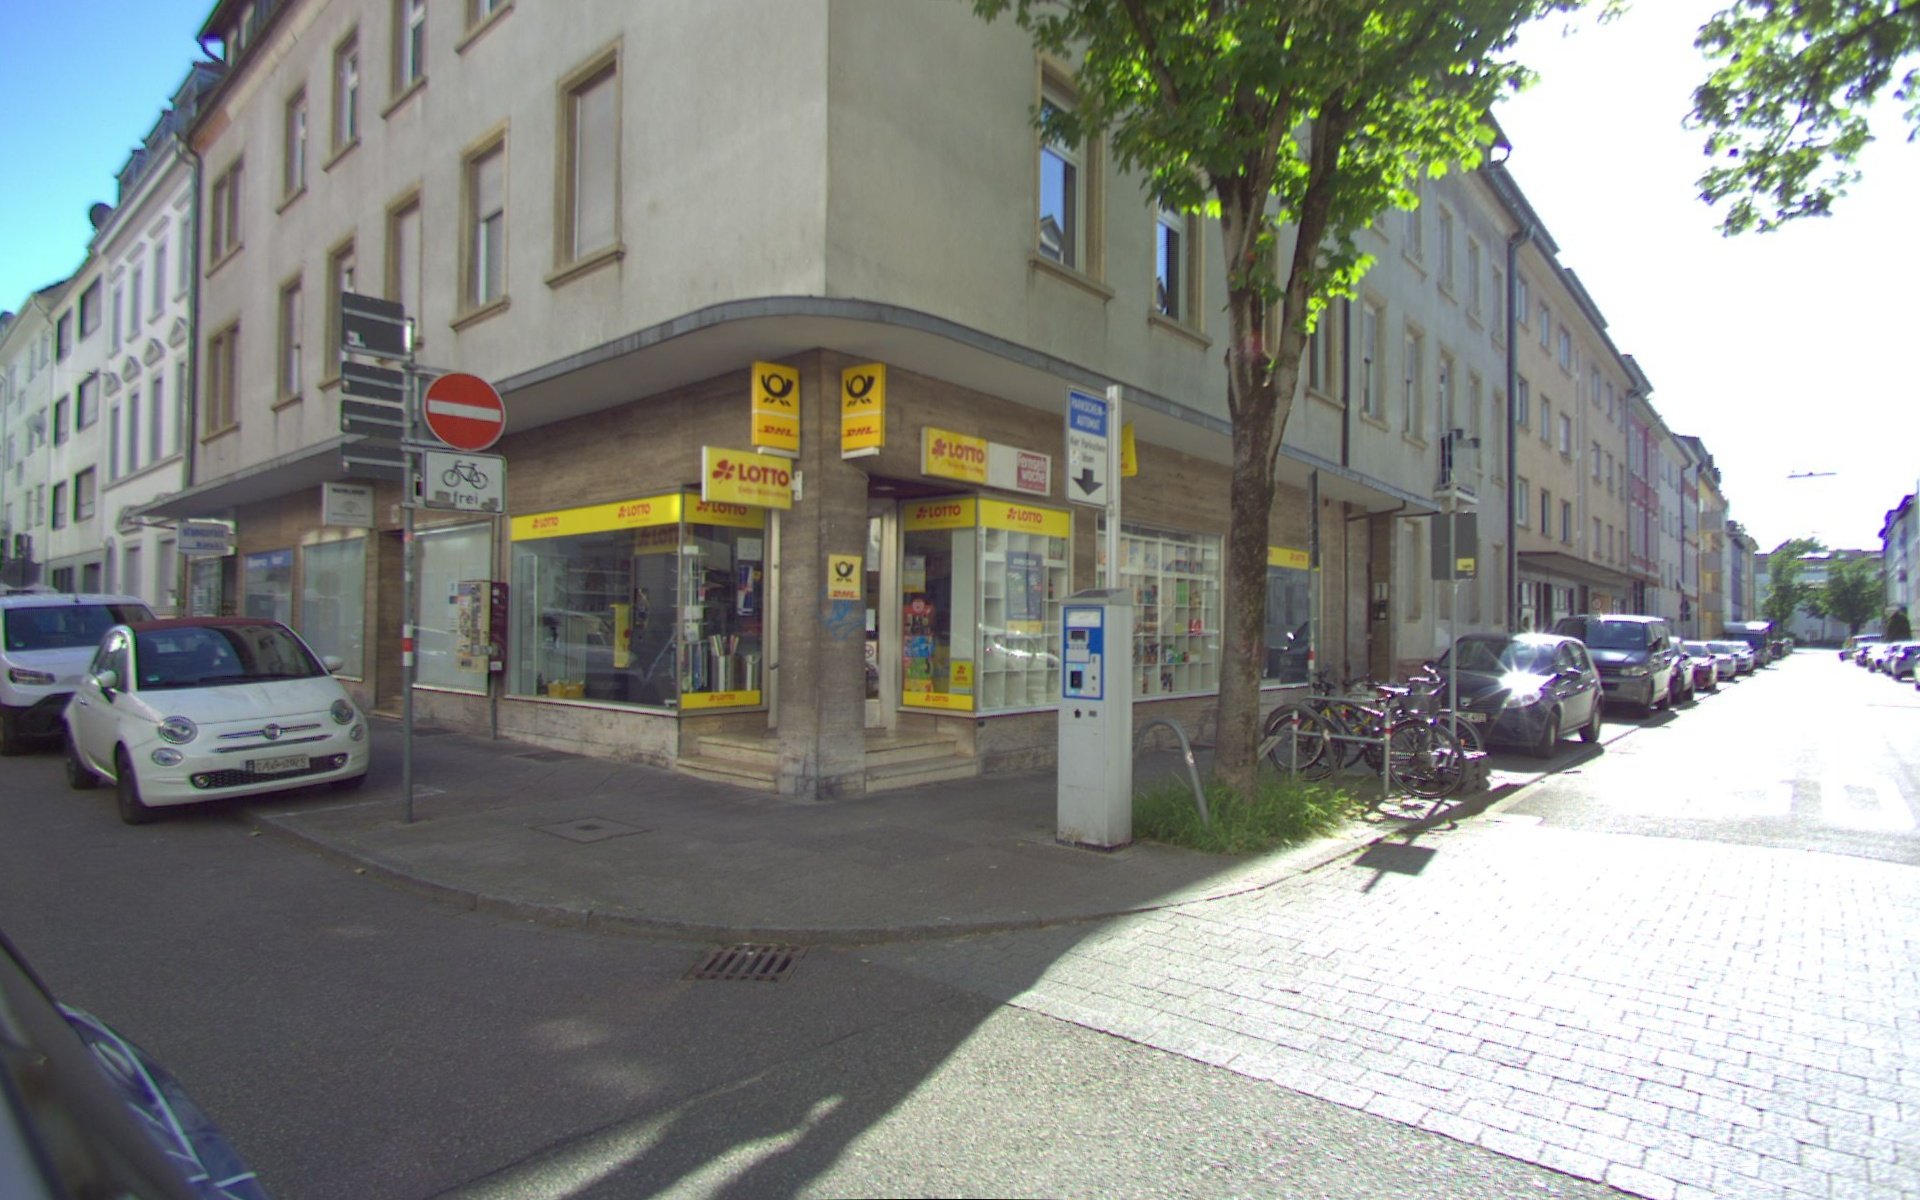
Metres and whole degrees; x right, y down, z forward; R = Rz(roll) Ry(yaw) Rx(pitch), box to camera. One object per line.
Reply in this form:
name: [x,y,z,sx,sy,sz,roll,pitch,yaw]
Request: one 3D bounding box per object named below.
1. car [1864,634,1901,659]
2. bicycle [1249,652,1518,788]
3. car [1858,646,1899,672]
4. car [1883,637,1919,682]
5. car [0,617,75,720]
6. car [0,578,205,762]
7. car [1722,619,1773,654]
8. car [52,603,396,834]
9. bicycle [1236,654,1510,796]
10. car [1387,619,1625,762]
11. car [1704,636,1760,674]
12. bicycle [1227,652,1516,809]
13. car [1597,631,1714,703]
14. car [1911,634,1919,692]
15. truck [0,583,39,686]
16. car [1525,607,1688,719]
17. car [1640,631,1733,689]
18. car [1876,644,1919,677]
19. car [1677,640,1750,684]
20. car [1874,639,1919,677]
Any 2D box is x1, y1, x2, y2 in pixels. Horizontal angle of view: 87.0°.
car: [64.400,3.250,70.649,1.829,1.703,4.142,-2,-4,43]
bicycle: [4.243,1.147,10.250,2.423,1.135,0.701,1,-1,34]
car: [57.218,3.657,63.044,1.829,1.599,3.999,-2,-4,43]
car: [36.602,2.249,38.500,3.915,1.663,1.908,3,-4,-44]
car: [-15.980,1.051,16.476,4.485,1.535,1.648,-1,-4,40]
car: [-11.301,0.803,12.726,4.805,1.913,1.749,-1,-4,40]
car: [45.595,2.114,58.535,2.000,1.909,4.639,0,-1,42]
car: [-6.492,0.844,8.785,3.721,1.572,1.650,-1,-2,42]
bicycle: [3.905,1.135,9.760,2.402,1.126,0.516,0,-1,41]
car: [7.680,1.126,14.045,1.902,1.598,4.180,2,0,43]
car: [34.949,2.451,45.768,1.669,1.598,3.821,-1,-2,43]
bicycle: [3.636,1.098,9.117,2.307,1.152,0.700,0,-1,42]
car: [17.093,1.599,24.784,1.856,1.601,4.349,-2,-3,41]
car: [29.682,1.856,29.937,2.147,1.638,4.818,-2,-4,42]
truck: [-24.370,0.730,24.156,6.335,2.326,2.145,0,-2,36]
car: [13.260,1.200,20.625,2.085,1.961,4.534,1,-1,42]
car: [22.166,1.804,30.827,1.829,1.646,3.884,-2,-4,43]
car: [47.953,3.064,51.582,1.829,1.599,4.180,-2,-4,43]
car: [28.966,2.338,38.878,1.829,1.557,3.992,-1,-2,43]
car: [41.839,2.539,44.896,1.829,1.599,4.020,-2,-4,43]
